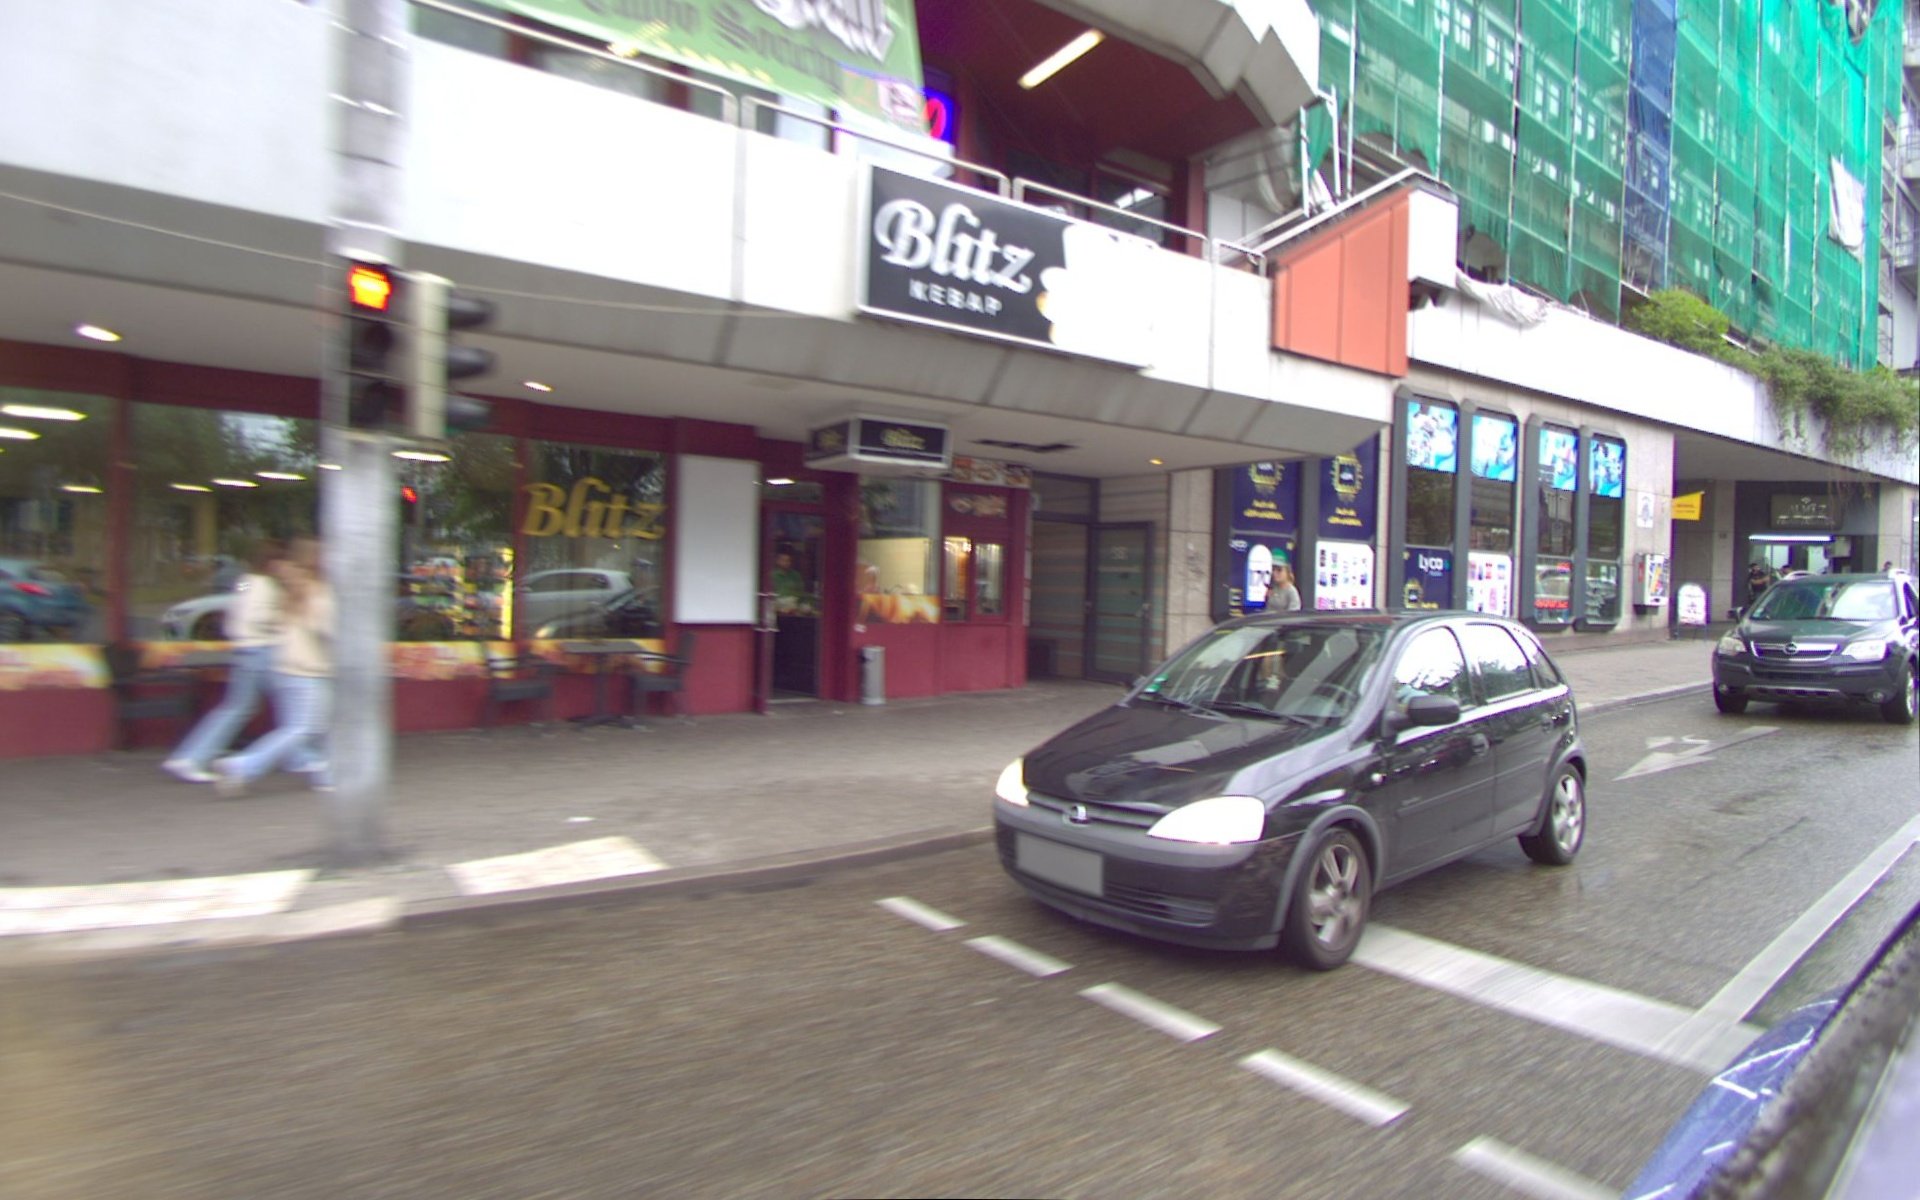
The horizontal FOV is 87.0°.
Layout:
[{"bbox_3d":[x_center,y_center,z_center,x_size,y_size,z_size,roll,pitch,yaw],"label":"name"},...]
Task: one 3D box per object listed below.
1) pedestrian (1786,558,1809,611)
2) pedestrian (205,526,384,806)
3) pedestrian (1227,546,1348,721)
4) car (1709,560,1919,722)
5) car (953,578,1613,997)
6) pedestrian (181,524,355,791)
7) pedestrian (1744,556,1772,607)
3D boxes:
[{"bbox_3d":[23.960,-0.452,28.953,0.516,1.506,0.428,-3,4,-44],"label":"pedestrian"},{"bbox_3d":[-4.316,0.387,6.583,0.922,1.683,0.576,1,2,-35],"label":"pedestrian"},{"bbox_3d":[3.646,0.328,11.313,0.790,1.800,0.900,-2,7,-34],"label":"pedestrian"},{"bbox_3d":[11.122,0.378,12.618,4.170,1.700,1.736,-2,1,-37],"label":"car"},{"bbox_3d":[1.851,0.656,5.281,3.562,1.459,1.595,1,0,-39],"label":"car"},{"bbox_3d":[-4.802,0.359,7.051,0.952,1.727,0.590,1,2,-35],"label":"pedestrian"},{"bbox_3d":[23.712,-0.552,30.067,0.518,1.506,0.426,0,3,22],"label":"pedestrian"}]
